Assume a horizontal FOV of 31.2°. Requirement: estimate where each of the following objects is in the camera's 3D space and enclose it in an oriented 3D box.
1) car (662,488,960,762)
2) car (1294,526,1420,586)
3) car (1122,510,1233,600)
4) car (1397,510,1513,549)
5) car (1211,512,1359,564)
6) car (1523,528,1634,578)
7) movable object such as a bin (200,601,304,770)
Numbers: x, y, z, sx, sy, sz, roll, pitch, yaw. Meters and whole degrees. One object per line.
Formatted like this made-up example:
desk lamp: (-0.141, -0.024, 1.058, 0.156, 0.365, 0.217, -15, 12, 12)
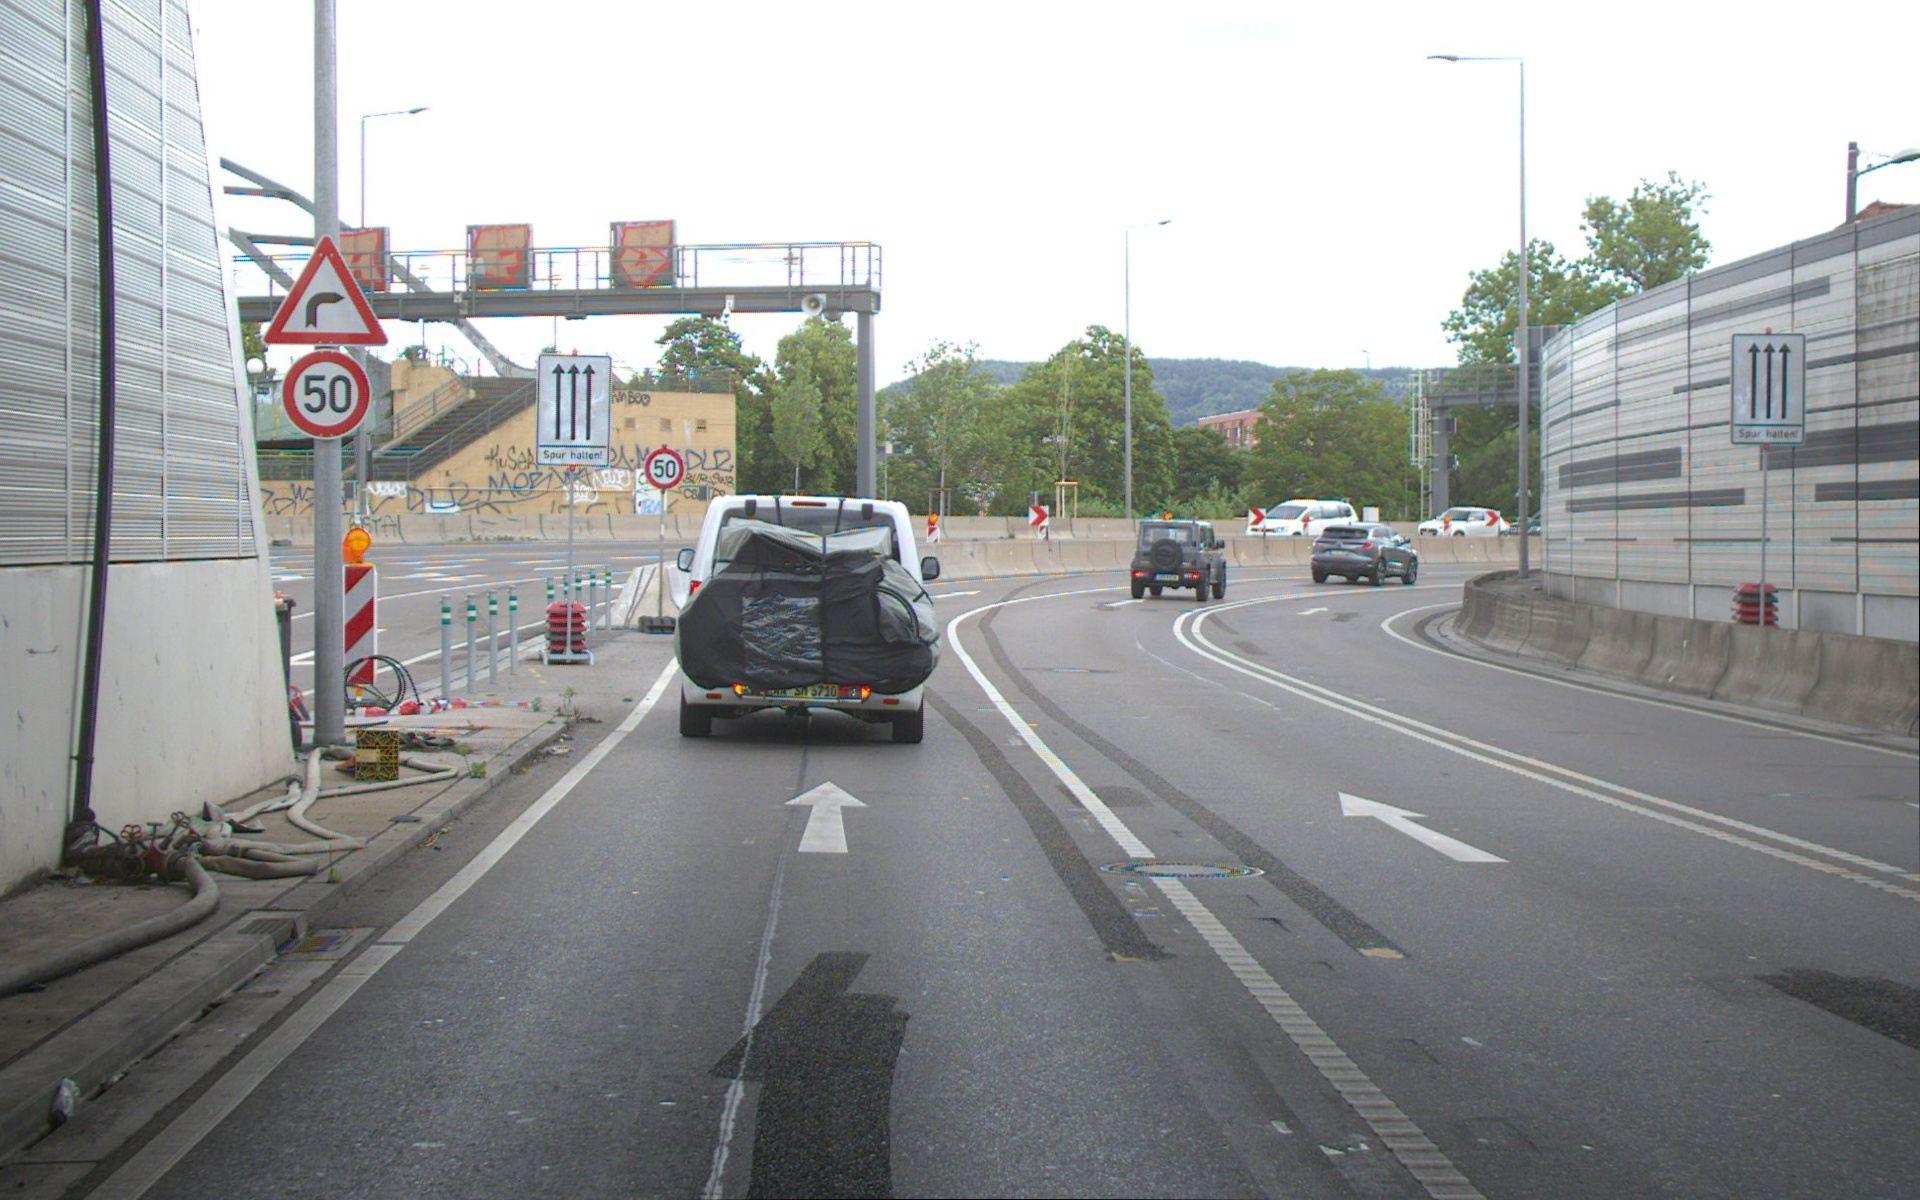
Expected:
car: (-1.290, 0.133, 27.037, 1.992, 1.853, 5.642, 2, 1, -5)
car: (10.490, -1.179, 90.685, 2.015, 1.483, 4.059, 2, 2, 27)
car: (4.737, -0.989, 74.343, 1.994, 1.853, 3.999, 1, 1, 9)
car: (18.675, -2.663, 129.718, 4.131, 1.429, 1.766, 0, 1, -31)
car: (11.168, -2.108, 117.934, 5.259, 1.744, 1.956, 0, 2, -41)
car: (18.903, -1.450, 104.982, 1.997, 1.464, 3.993, 0, 1, 32)
movable object such as a bin: (-4.379, 0.523, 21.286, 0.552, 1.005, 0.547, 1, 1, -6)
